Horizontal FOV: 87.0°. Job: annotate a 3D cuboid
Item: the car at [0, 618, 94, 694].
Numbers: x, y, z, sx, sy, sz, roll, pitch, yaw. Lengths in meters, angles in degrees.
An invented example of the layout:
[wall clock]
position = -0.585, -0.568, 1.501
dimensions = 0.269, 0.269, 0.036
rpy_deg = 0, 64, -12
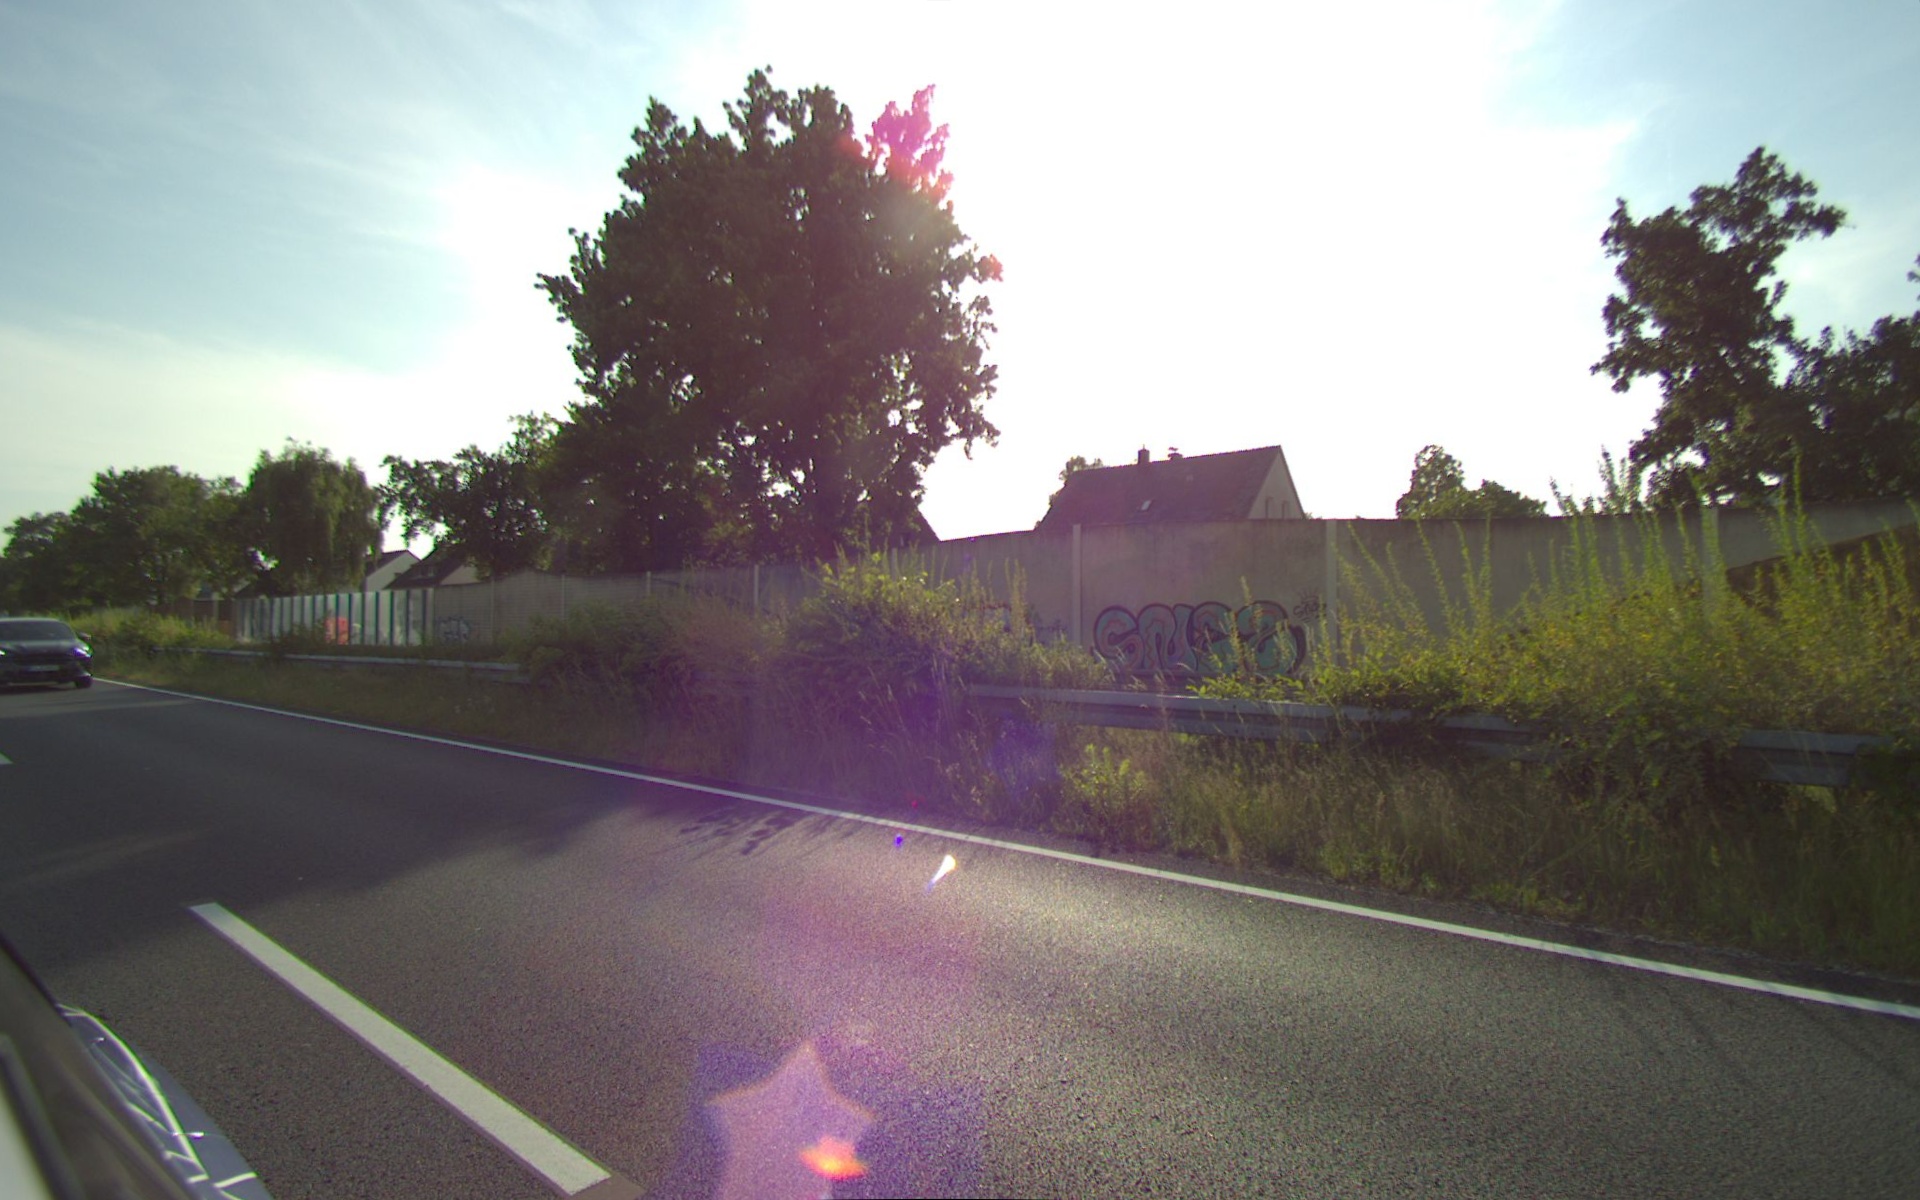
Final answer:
[car]
position = -21.225, 1.203, 22.949
dimensions = 4.244, 1.536, 1.798
rpy_deg = -1, 0, 41
